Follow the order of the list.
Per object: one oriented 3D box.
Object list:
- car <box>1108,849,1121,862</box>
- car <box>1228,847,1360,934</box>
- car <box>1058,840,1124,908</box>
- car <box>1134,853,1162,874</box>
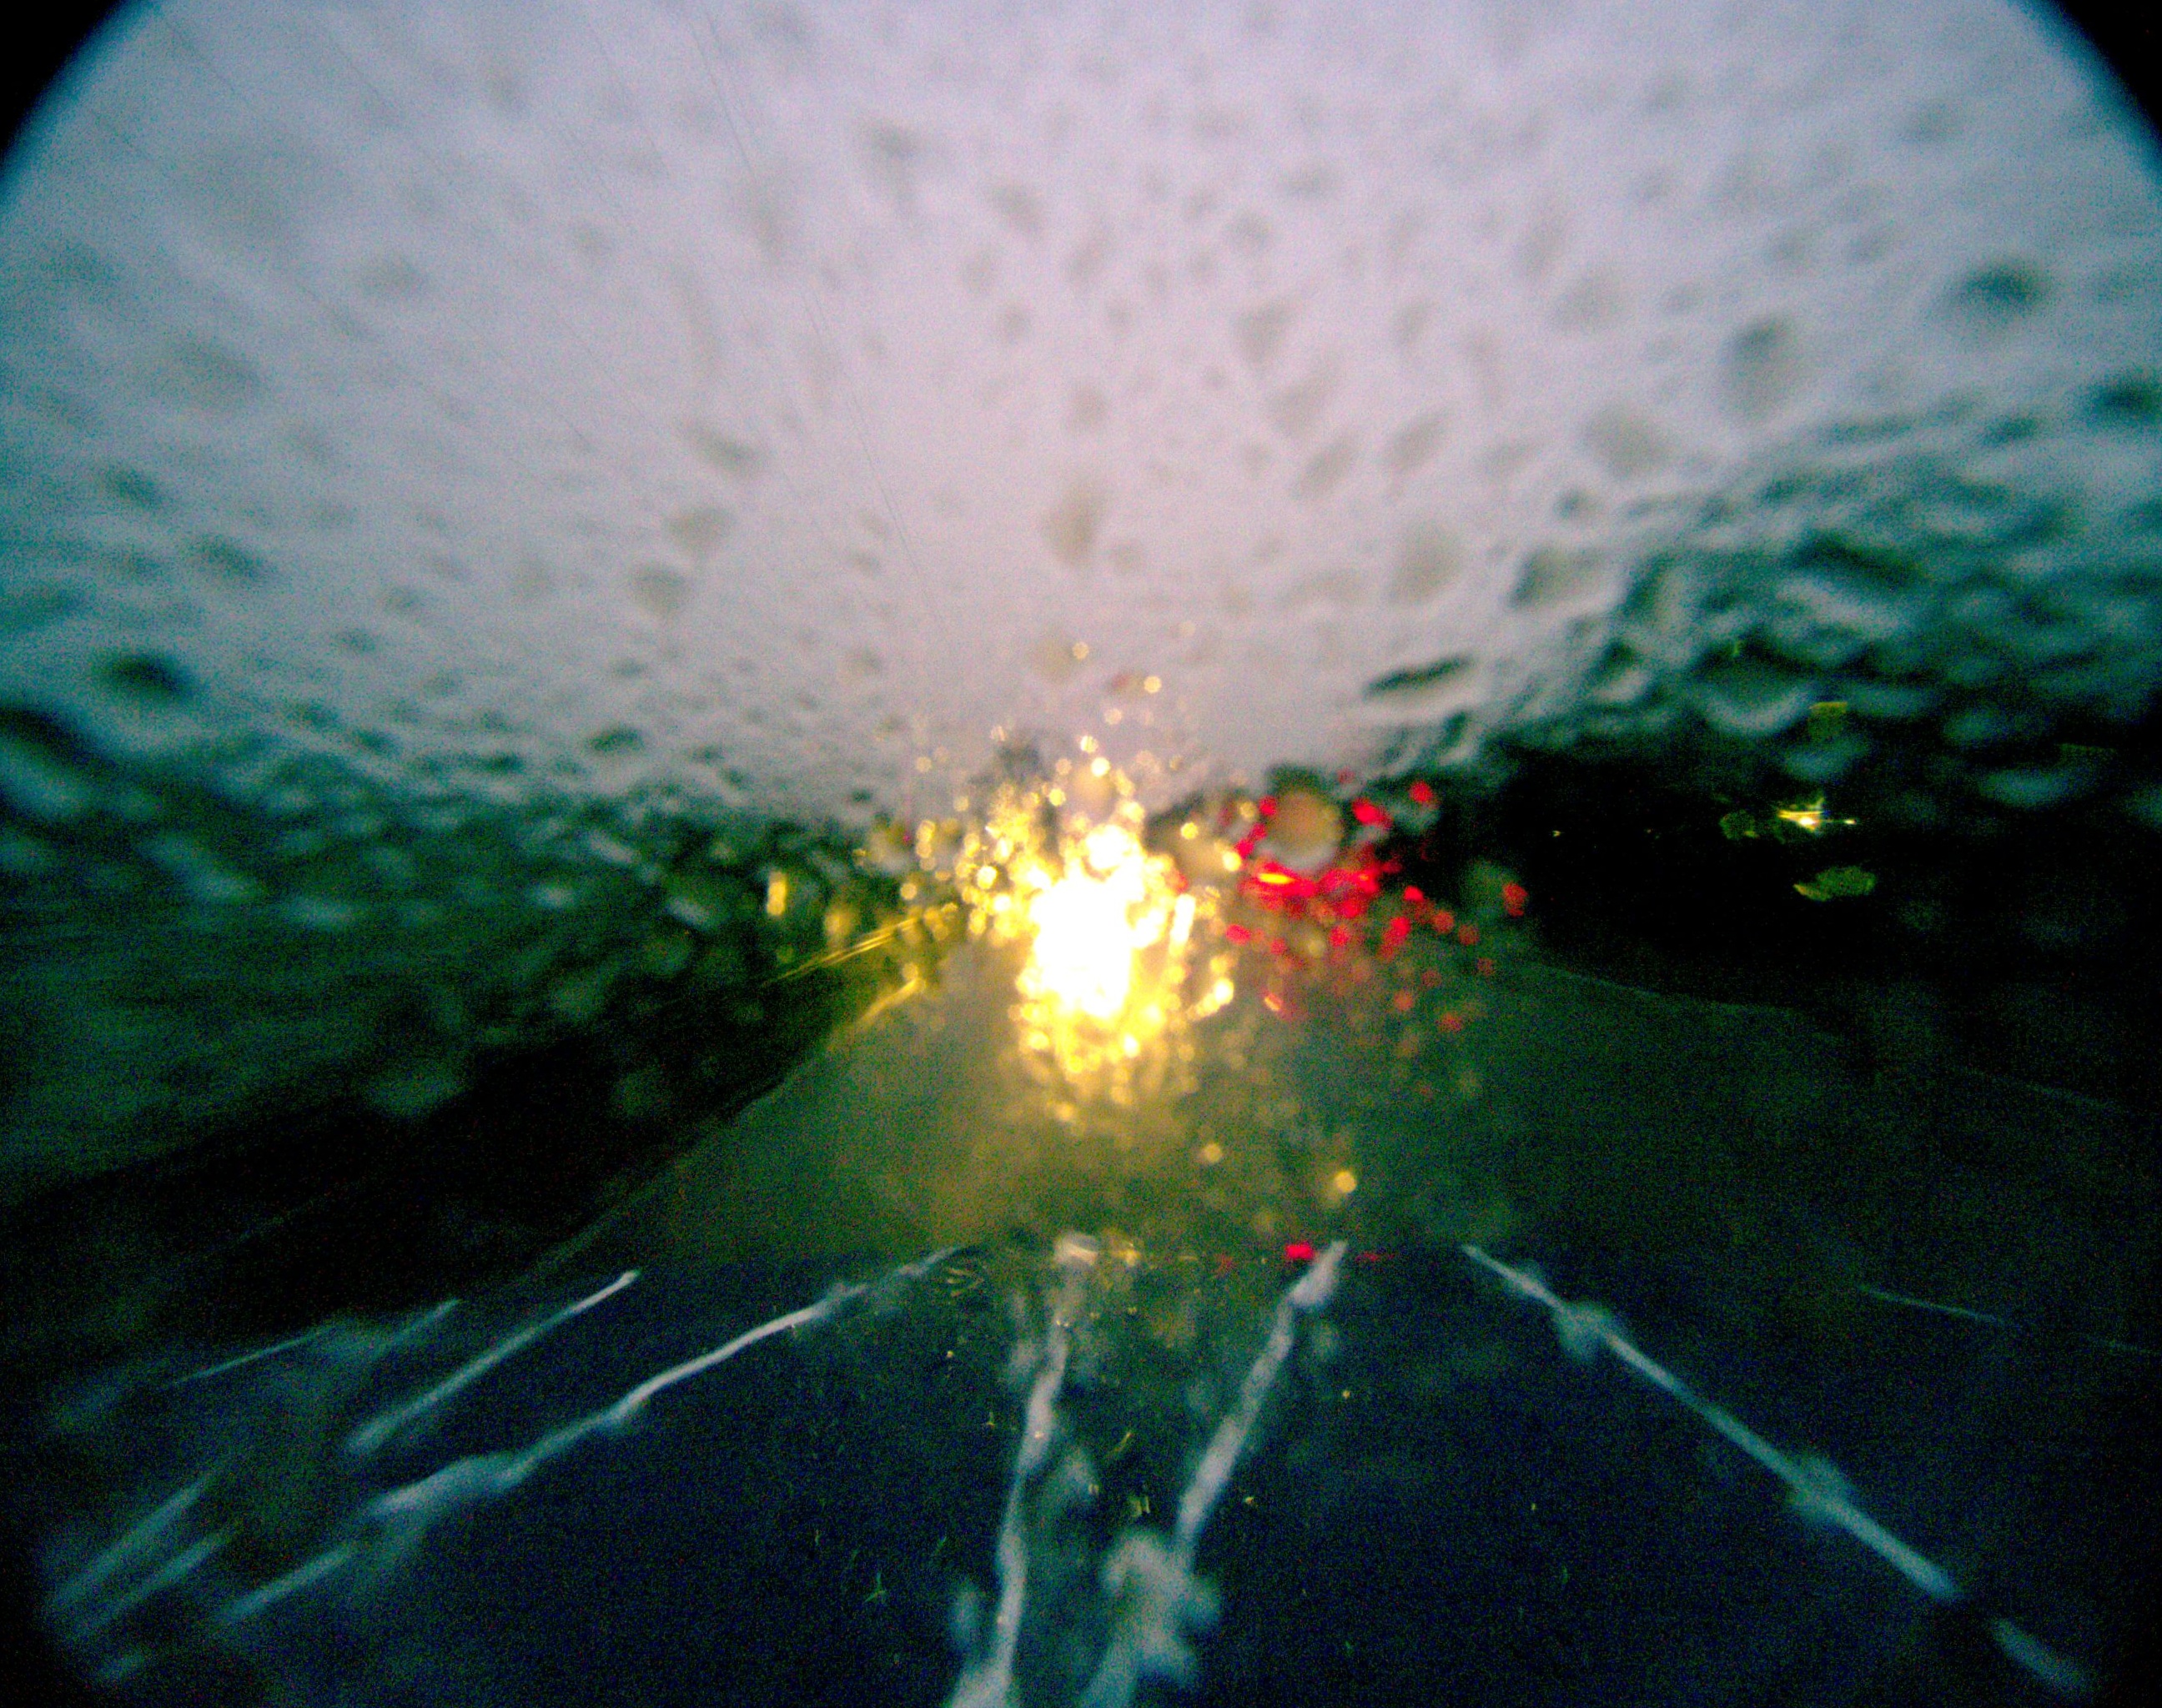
[{"bbox_3d":[5.479,0.241,125.465,1.998,2.002,4.654,-1,1,0],"label":"car"},{"bbox_3d":[4.451,0.696,16.537,1.739,1.604,4.212,-2,0,1],"label":"car"},{"bbox_3d":[0.256,0.598,25.238,1.857,2.002,3.998,-2,1,-3],"label":"car"},{"bbox_3d":[4.807,0.670,55.041,1.649,1.455,3.872,-2,0,1],"label":"car"}]
